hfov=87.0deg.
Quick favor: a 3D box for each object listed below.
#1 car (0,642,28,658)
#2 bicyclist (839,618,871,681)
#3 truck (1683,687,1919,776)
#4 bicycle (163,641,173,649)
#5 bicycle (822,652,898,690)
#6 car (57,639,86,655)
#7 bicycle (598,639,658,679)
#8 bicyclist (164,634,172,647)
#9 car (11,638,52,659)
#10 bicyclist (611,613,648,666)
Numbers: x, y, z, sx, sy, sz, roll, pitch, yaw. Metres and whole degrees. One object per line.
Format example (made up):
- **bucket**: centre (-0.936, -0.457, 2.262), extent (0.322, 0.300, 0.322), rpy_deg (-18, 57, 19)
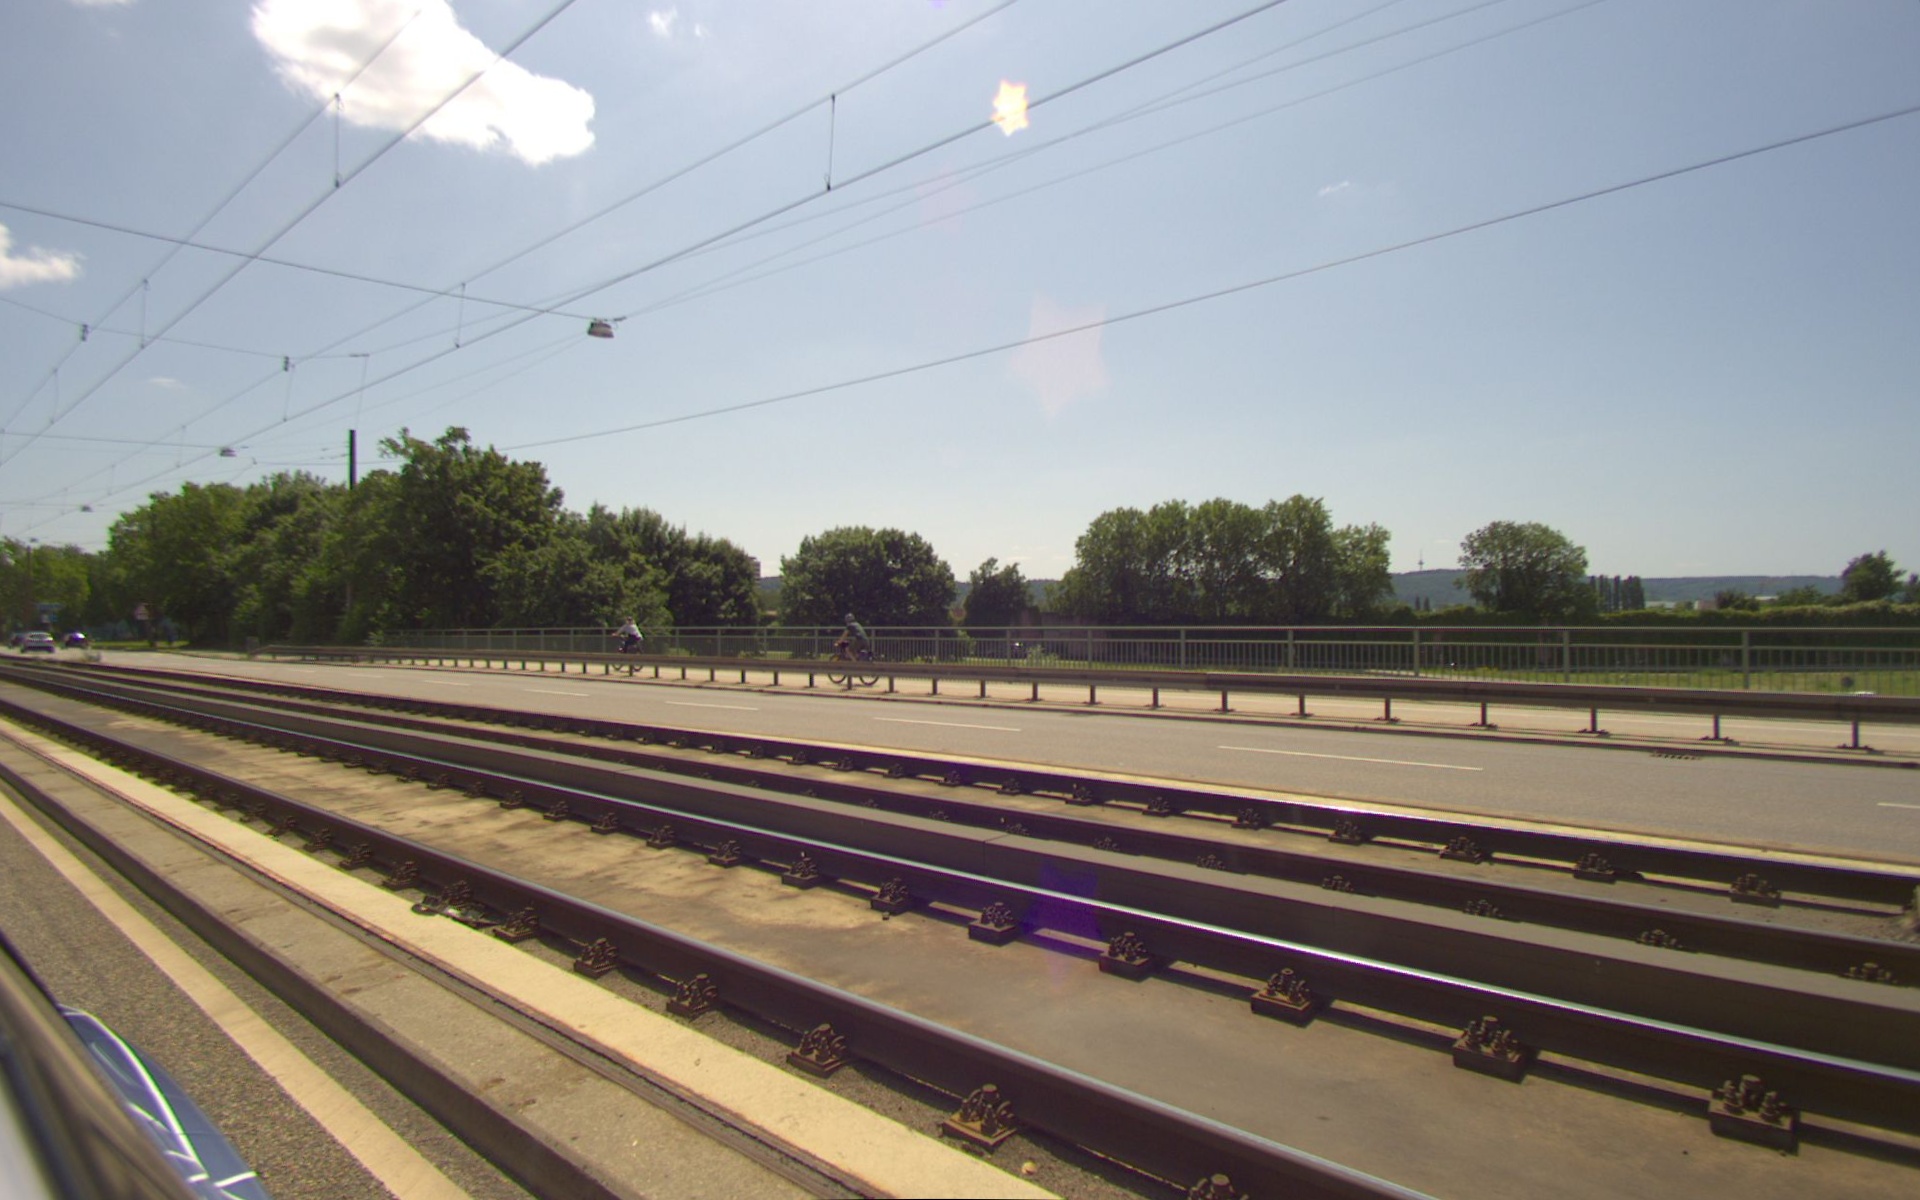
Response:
- **car**: centre (-87.313, 4.604, 93.287), extent (3.935, 1.411, 1.558), rpy_deg (-1, -2, 41)
- **bicyclist**: centre (-2.540, 1.189, 24.433), extent (0.529, 1.509, 0.515), rpy_deg (-2, -1, 40)
- **truck**: centre (41.013, 6.104, 47.953), extent (13.498, 3.249, 2.756), rpy_deg (-1, -1, -13)
- **bicycle**: centre (-84.357, 4.788, 107.814), extent (0.579, 0.825, 2.070), rpy_deg (-1, 1, -44)
- **bicycle**: centre (-2.416, 1.694, 24.337), extent (2.034, 0.849, 0.517), rpy_deg (-2, -1, 40)
- **car**: centre (-82.041, 4.322, 93.431), extent (3.927, 1.357, 1.547), rpy_deg (-1, -3, 41)
- **bicycle**: centre (-10.418, 1.832, 31.747), extent (2.060, 1.194, 0.848), rpy_deg (-1, -1, 40)
- **bicyclist**: centre (-84.395, 4.322, 107.844), extent (0.562, 1.378, 0.632), rpy_deg (-1, 0, -44)
- **car**: centre (-67.471, 3.518, 73.496), extent (4.622, 1.431, 1.693), rpy_deg (-1, -3, 41)
- **bicyclist**: centre (-10.364, 1.224, 31.719), extent (0.837, 1.634, 0.755), rpy_deg (-1, -1, 41)
